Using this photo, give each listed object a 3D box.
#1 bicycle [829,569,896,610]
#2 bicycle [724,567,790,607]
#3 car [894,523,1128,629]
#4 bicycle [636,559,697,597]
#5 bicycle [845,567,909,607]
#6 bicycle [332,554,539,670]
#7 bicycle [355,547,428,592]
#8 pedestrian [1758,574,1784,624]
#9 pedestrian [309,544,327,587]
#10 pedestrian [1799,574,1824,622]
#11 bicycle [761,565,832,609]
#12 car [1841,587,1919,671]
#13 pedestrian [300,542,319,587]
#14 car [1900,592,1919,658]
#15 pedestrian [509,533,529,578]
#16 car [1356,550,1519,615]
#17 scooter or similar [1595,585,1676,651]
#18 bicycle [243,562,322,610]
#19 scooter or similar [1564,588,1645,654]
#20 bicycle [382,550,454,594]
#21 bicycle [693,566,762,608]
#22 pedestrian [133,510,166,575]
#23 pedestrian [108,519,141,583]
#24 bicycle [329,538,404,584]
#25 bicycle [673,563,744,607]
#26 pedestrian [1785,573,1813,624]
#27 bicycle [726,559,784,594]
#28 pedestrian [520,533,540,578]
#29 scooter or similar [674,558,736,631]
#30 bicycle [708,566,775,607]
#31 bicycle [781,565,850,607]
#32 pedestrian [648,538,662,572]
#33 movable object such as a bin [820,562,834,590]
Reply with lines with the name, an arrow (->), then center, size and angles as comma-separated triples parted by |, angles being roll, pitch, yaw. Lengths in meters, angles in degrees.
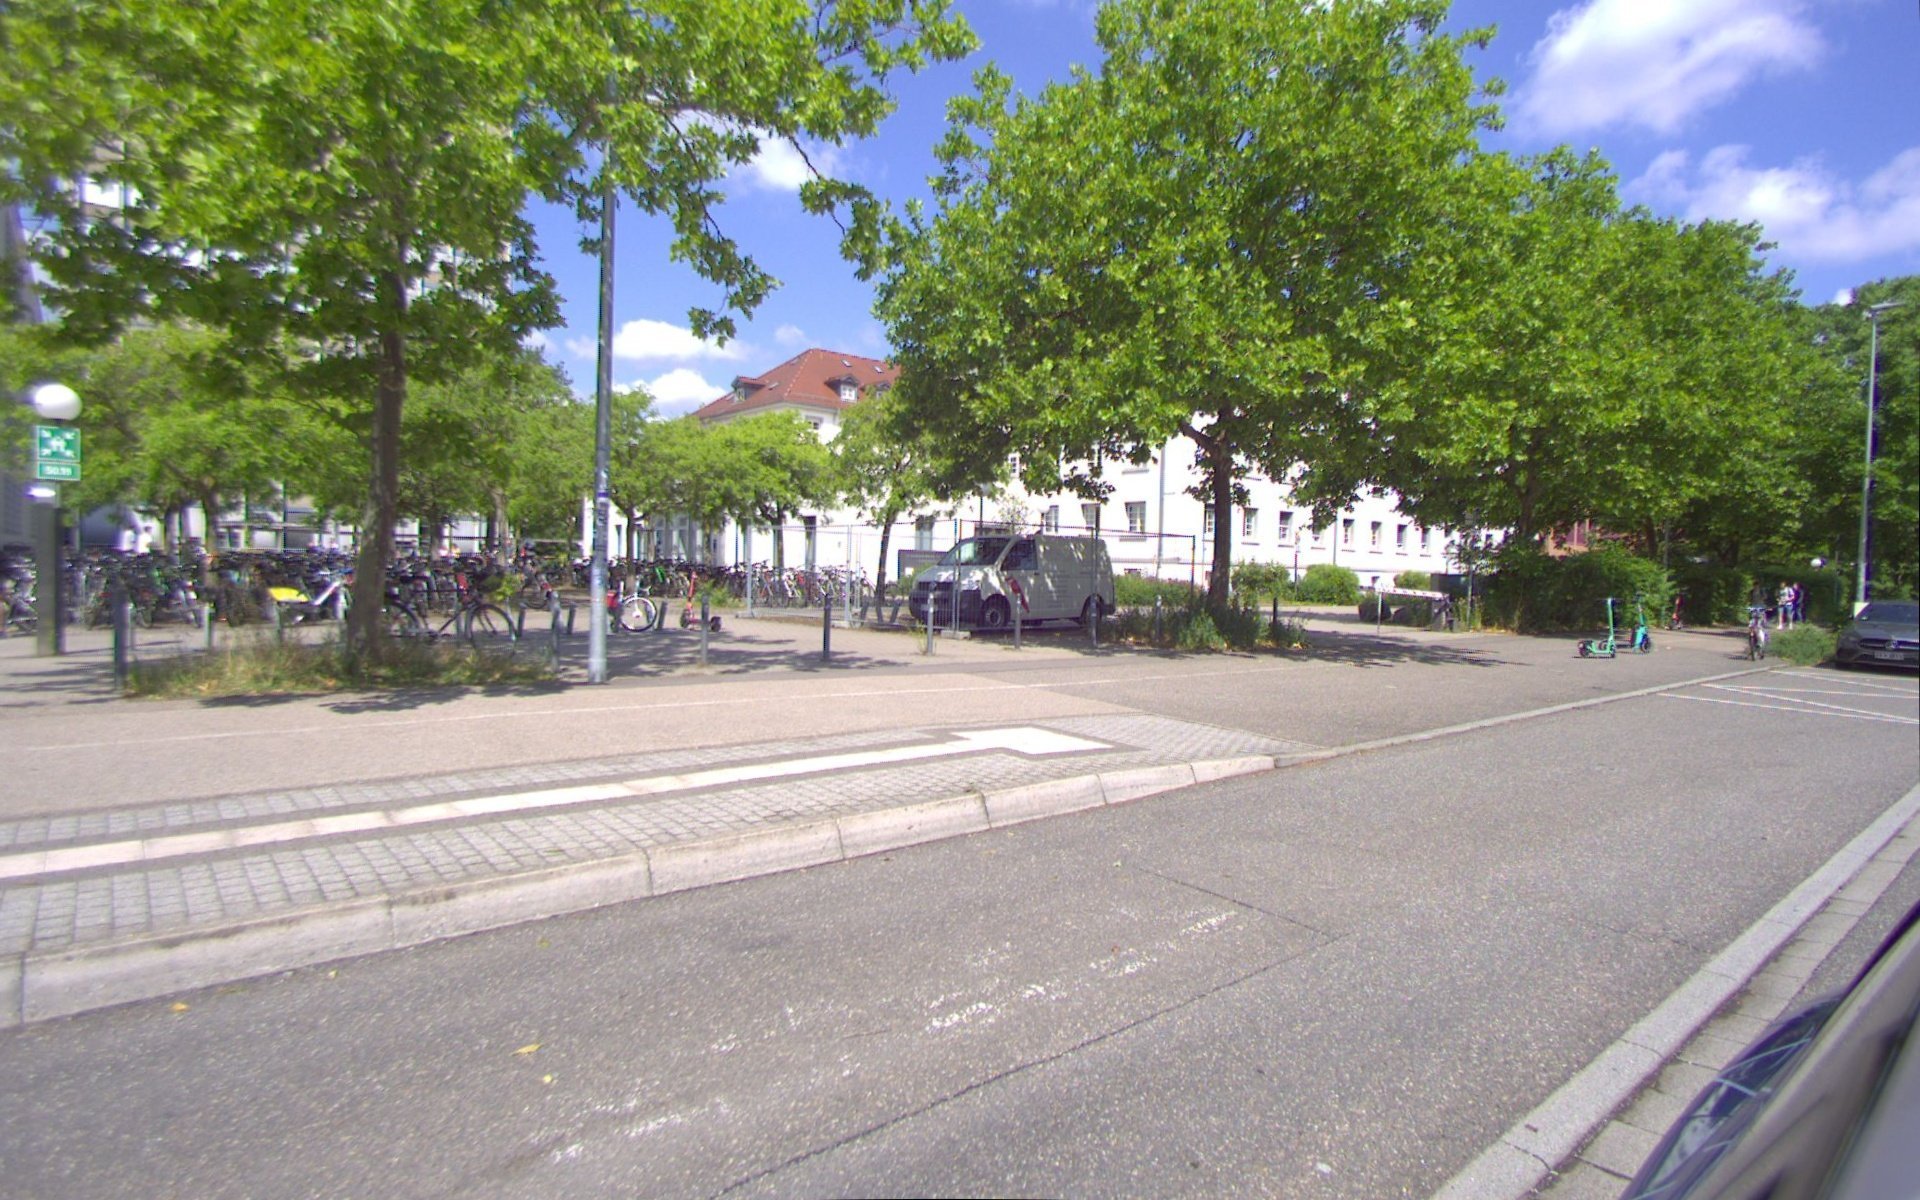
bicycle -> -2.660, -0.286, 27.731 | 1.744, 1.113, 0.600 | 0, 0, 19
bicycle -> -5.675, -0.362, 28.263 | 1.745, 1.113, 0.600 | 0, 0, 19
car -> 1.137, -0.467, 20.330 | 4.860, 1.888, 1.899 | -1, 2, -44
bicycle -> -8.755, -0.652, 30.187 | 1.744, 1.113, 0.600 | 0, 0, 19
bicycle -> -2.384, -0.370, 29.001 | 1.744, 1.113, 0.600 | 0, 0, 19
bicycle -> -5.820, 0.113, 11.298 | 1.990, 1.198, 0.801 | 0, 1, -30
bicycle -> -14.227, -0.753, 25.334 | 1.744, 1.113, 0.600 | 0, 0, 19
pedestrian -> 29.470, -0.035, 36.782 | 0.680, 1.803, 0.780 | 0, 0, 37
pedestrian -> -33.513, -1.796, 52.868 | 0.701, 2.257, 0.635 | 0, 0, -23
pedestrian -> 32.016, -0.082, 38.047 | 0.681, 1.803, 0.779 | 0, 0, 42
bicycle -> -4.206, -0.333, 26.002 | 1.745, 1.113, 0.600 | 0, 0, 19
car -> 19.622, 0.587, 20.578 | 4.855, 1.496, 1.861 | 1, 3, -41
pedestrian -> -32.894, -1.773, 51.151 | 0.701, 2.257, 0.635 | 0, 0, -23
car -> 23.852, 0.646, 23.589 | 4.846, 1.468, 1.745 | 1, 3, -34
pedestrian -> -22.749, -2.288, 52.227 | 0.626, 2.257, 0.712 | 0, 0, 18
car -> 14.240, -0.513, 30.307 | 1.967, 1.805, 3.991 | 0, 1, -43
scooter or similar -> 13.866, 0.363, 20.792 | 1.263, 1.261, 0.531 | 3, 2, -7
bicycle -> -15.861, -0.328, 23.694 | 1.744, 1.113, 0.600 | 0, 0, 19
scooter or similar -> 12.183, 0.403, 19.135 | 1.542, 1.183, 0.531 | 2, 2, -28
bicycle -> -14.023, -0.717, 26.184 | 1.744, 1.113, 0.600 | 0, 0, 19
bicycle -> -6.188, -0.345, 26.938 | 1.745, 1.113, 0.600 | 0, 0, 19
pedestrian -> -28.562, -2.015, 35.659 | 0.847, 2.257, 0.628 | 0, 0, 29
pedestrian -> -29.576, -1.728, 35.835 | 0.707, 2.257, 0.630 | 0, 0, 19
bicycle -> -14.459, -0.937, 24.658 | 1.744, 1.113, 0.600 | 0, 0, 19
bicycle -> -6.503, -0.381, 26.148 | 1.745, 1.113, 0.600 | 0, 0, 19
pedestrian -> 29.935, -0.047, 36.112 | 0.679, 1.803, 0.781 | 0, 0, 34
bicycle -> -6.552, -0.740, 32.350 | 1.744, 1.113, 0.600 | 0, 0, 19
pedestrian -> -22.037, -2.255, 51.833 | 0.626, 2.257, 0.712 | 0, 0, 18
scooter or similar -> -4.477, -0.110, 17.750 | 1.290, 1.248, 0.277 | 2, 2, 35
bicycle -> -5.963, -0.368, 27.619 | 1.745, 1.113, 0.600 | 0, 0, 19
bicycle -> -3.844, -0.373, 26.981 | 1.745, 1.113, 0.600 | 0, 0, 19
pedestrian -> -16.019, -2.350, 53.130 | 0.443, 1.738, 0.498 | 4, 3, 44
movable object such as a bin -> -5.239, -0.943, 39.999 | 0.388, 1.068, 0.362 | 4, 3, 44
